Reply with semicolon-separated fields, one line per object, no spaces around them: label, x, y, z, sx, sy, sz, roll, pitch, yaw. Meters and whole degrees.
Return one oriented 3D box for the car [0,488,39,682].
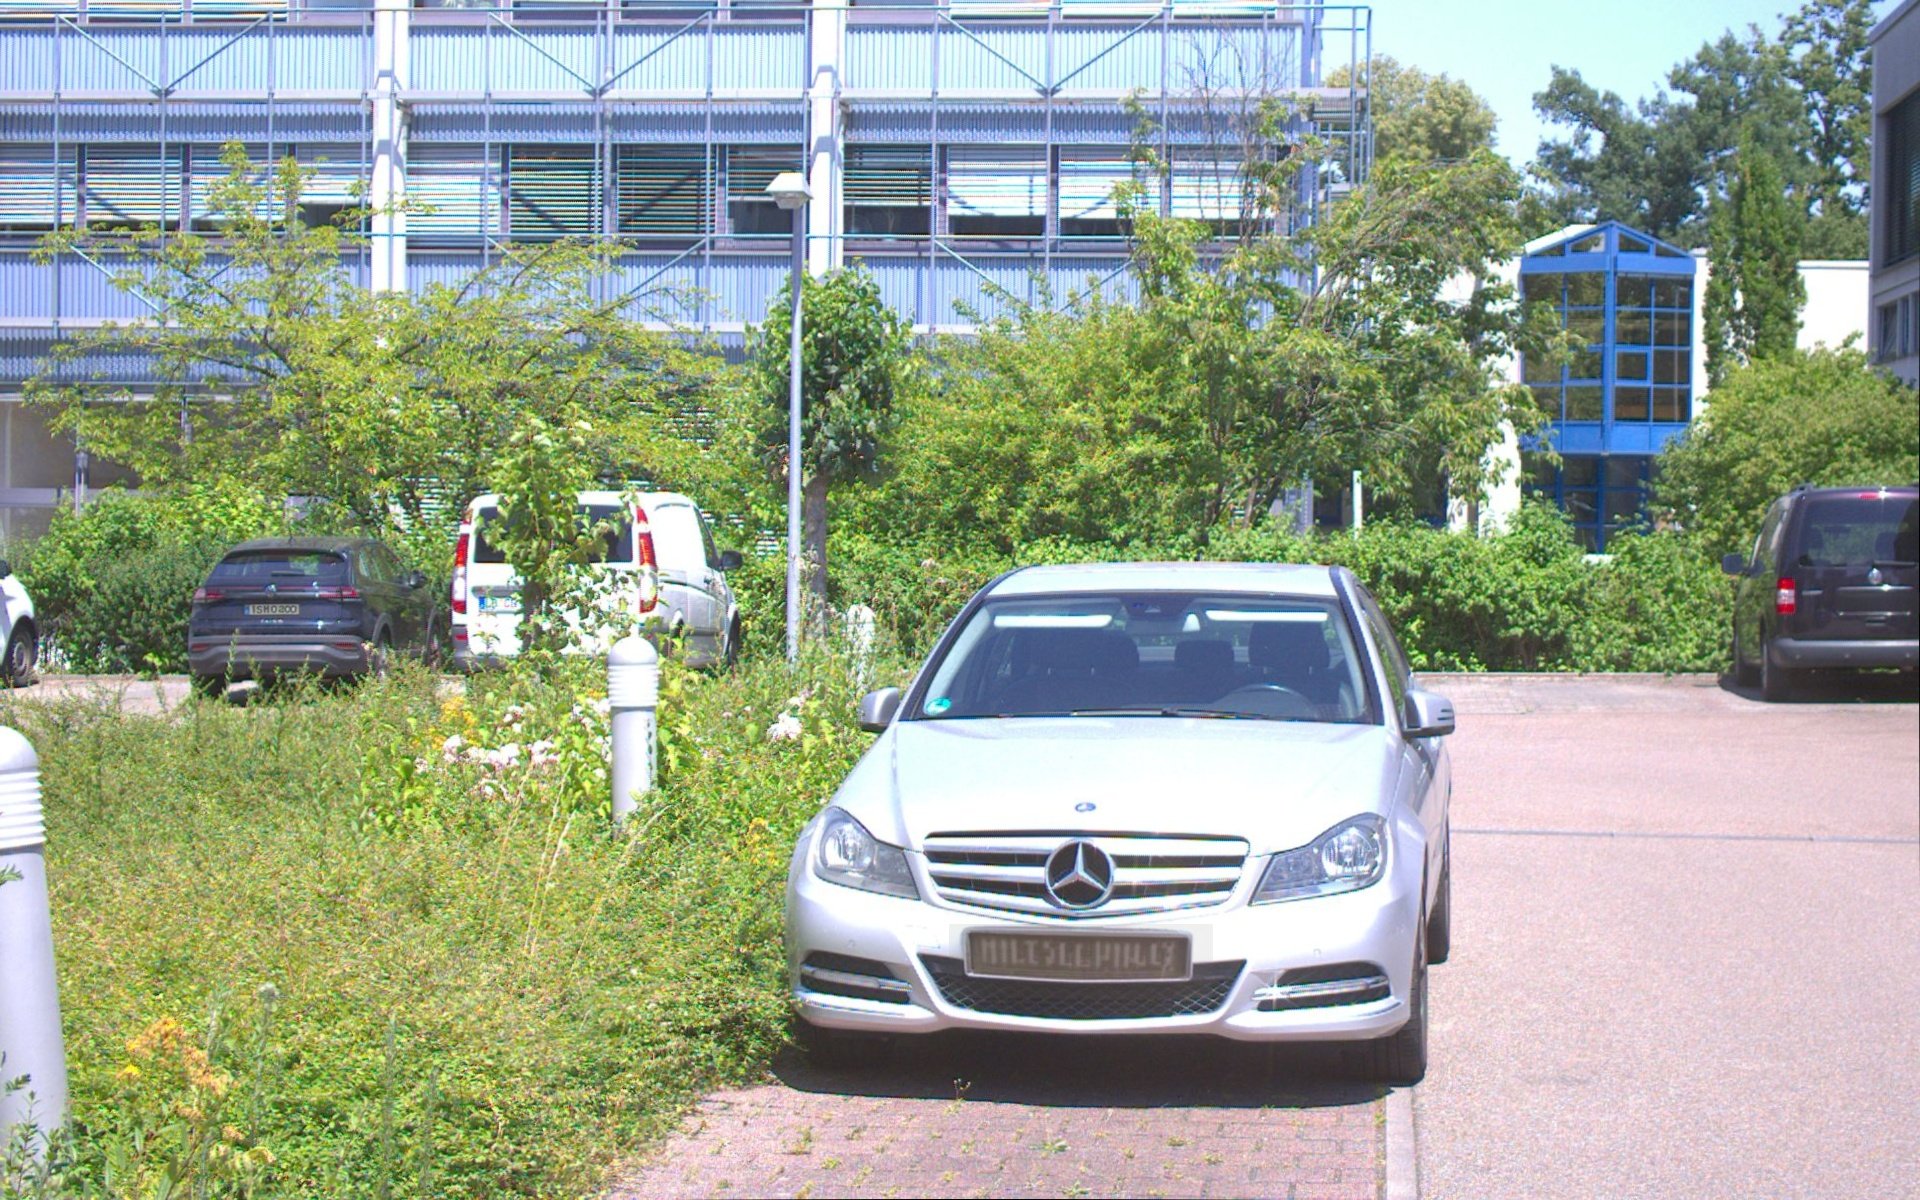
car;-10.501;-0.092;32.215;1.882;1.884;4.802;0;2;8

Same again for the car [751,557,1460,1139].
car;0.654;0.601;10.834;1.730;1.452;4.146;0;1;9

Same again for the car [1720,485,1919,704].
car;7.924;-0.105;30.833;1.743;1.830;3.999;0;2;6

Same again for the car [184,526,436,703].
car;-6.015;0.086;32.203;1.754;1.471;4.001;-1;2;-3

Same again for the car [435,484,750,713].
car;-3.230;-0.089;31.240;1.913;1.898;4.807;0;2;5
